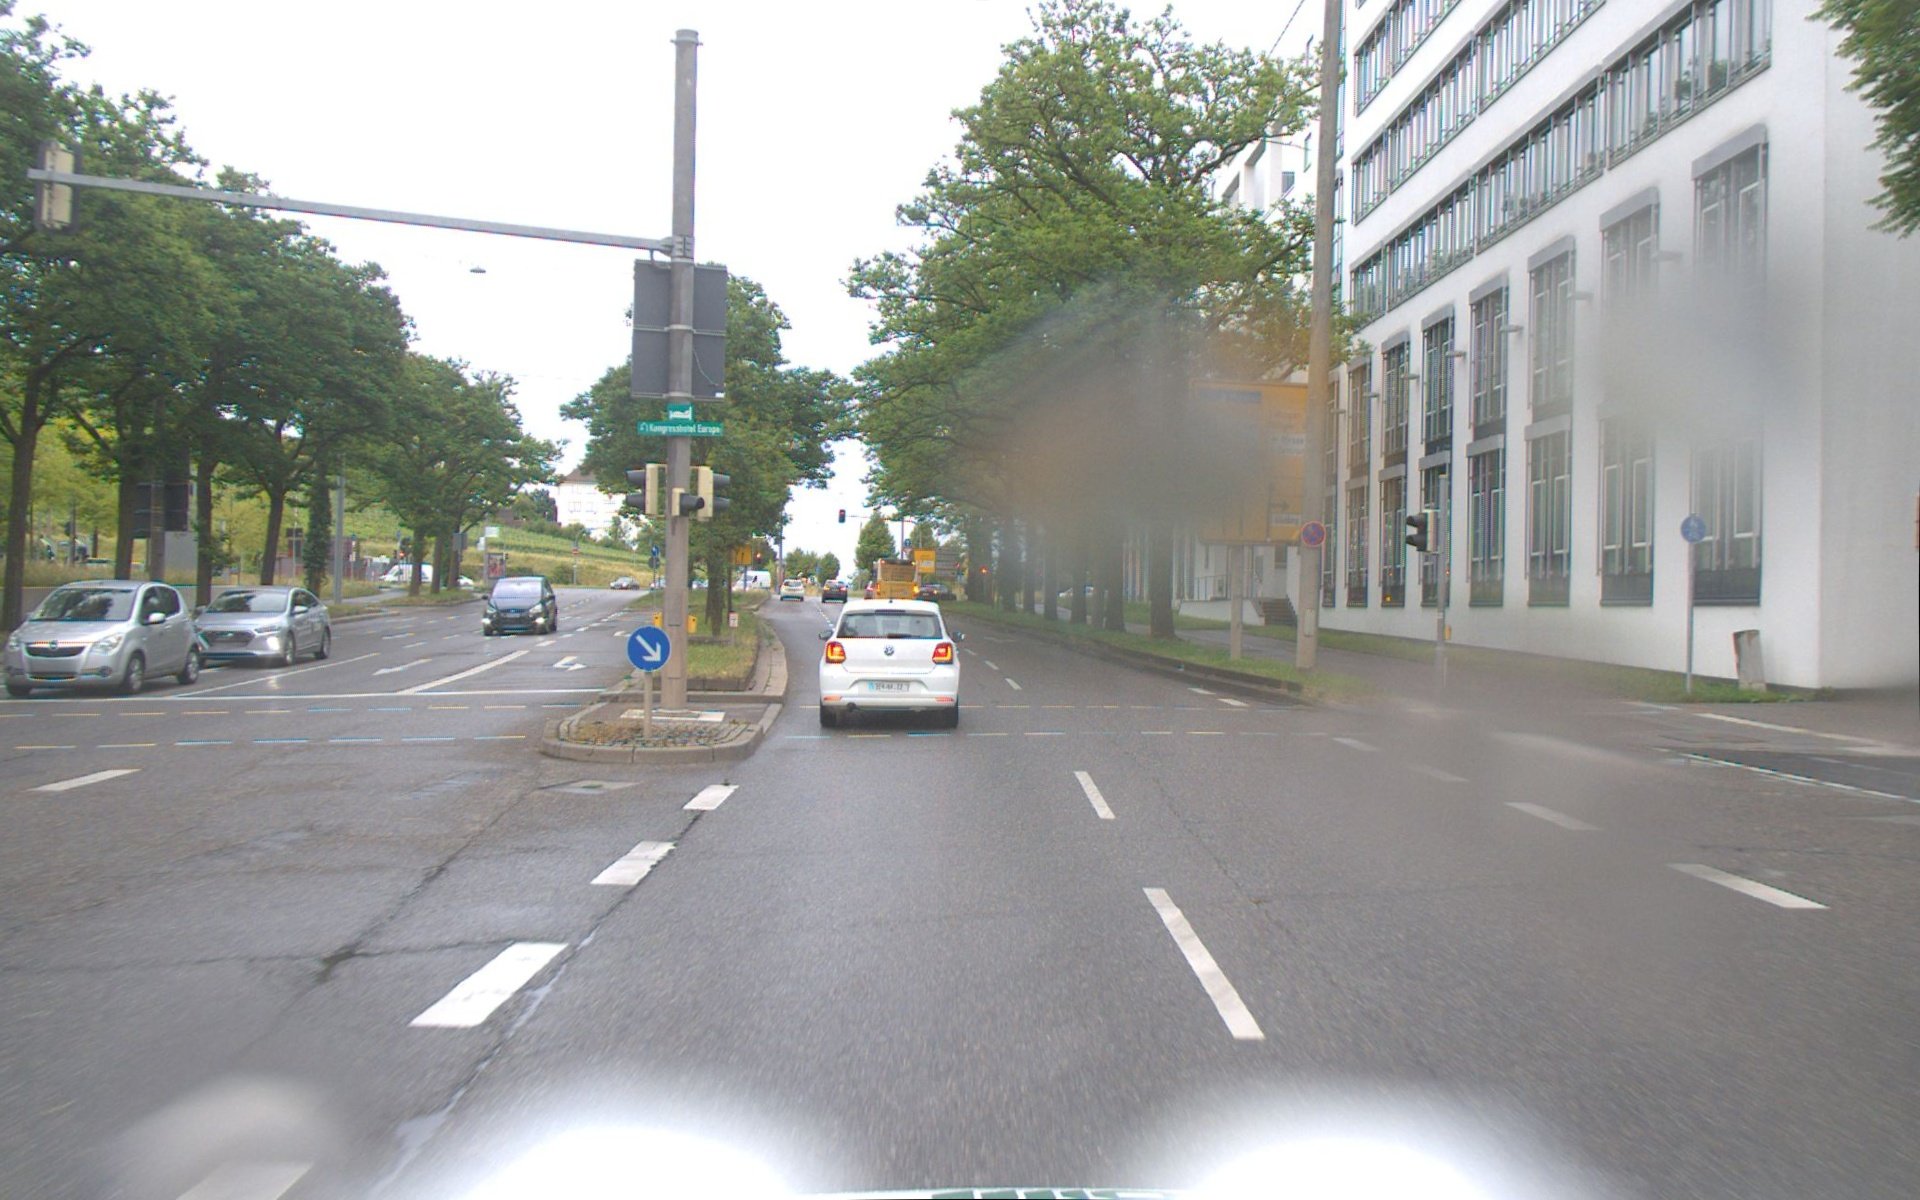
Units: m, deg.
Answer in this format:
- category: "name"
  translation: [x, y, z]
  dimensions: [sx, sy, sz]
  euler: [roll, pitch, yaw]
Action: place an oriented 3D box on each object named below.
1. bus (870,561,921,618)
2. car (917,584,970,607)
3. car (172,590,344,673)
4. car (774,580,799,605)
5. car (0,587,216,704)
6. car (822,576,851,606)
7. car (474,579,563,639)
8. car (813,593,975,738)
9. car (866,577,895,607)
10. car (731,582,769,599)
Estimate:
- category: "bus"
  translation: [-4.152, -0.696, 104.498]
  dimensions: [2.773, 3.324, 9.991]
  euler: [2, 0, -5]
- category: "car"
  translation: [-1.161, -0.295, 117.086]
  dimensions: [1.669, 1.542, 3.807]
  euler: [0, -1, 40]
- category: "car"
  translation: [-13.228, 0.538, 31.461]
  dimensions: [1.780, 1.436, 4.648]
  euler: [-1, 0, -7]
- category: "car"
  translation: [-12.376, -0.523, 118.060]
  dimensions: [1.759, 1.772, 3.995]
  euler: [0, 0, -6]
- category: "car"
  translation: [-12.300, 0.595, 23.972]
  dimensions: [1.717, 1.547, 3.811]
  euler: [0, 0, -8]
- category: "car"
  translation: [-8.735, -0.630, 116.806]
  dimensions: [1.954, 2.049, 3.996]
  euler: [1, -1, -5]
- category: "car"
  translation: [-13.031, 0.213, 49.101]
  dimensions: [1.956, 1.644, 5.111]
  euler: [-1, 1, -8]
- category: "car"
  translation: [-0.853, 0.732, 20.484]
  dimensions: [1.759, 1.528, 3.997]
  euler: [2, 1, -4]
- category: "car"
  translation: [-5.673, -0.580, 117.567]
  dimensions: [1.954, 2.049, 3.996]
  euler: [1, -1, -5]
- category: "car"
  translation: [-24.948, -1.143, 196.773]
  dimensions: [1.953, 2.049, 5.709]
  euler: [1, 1, 22]
